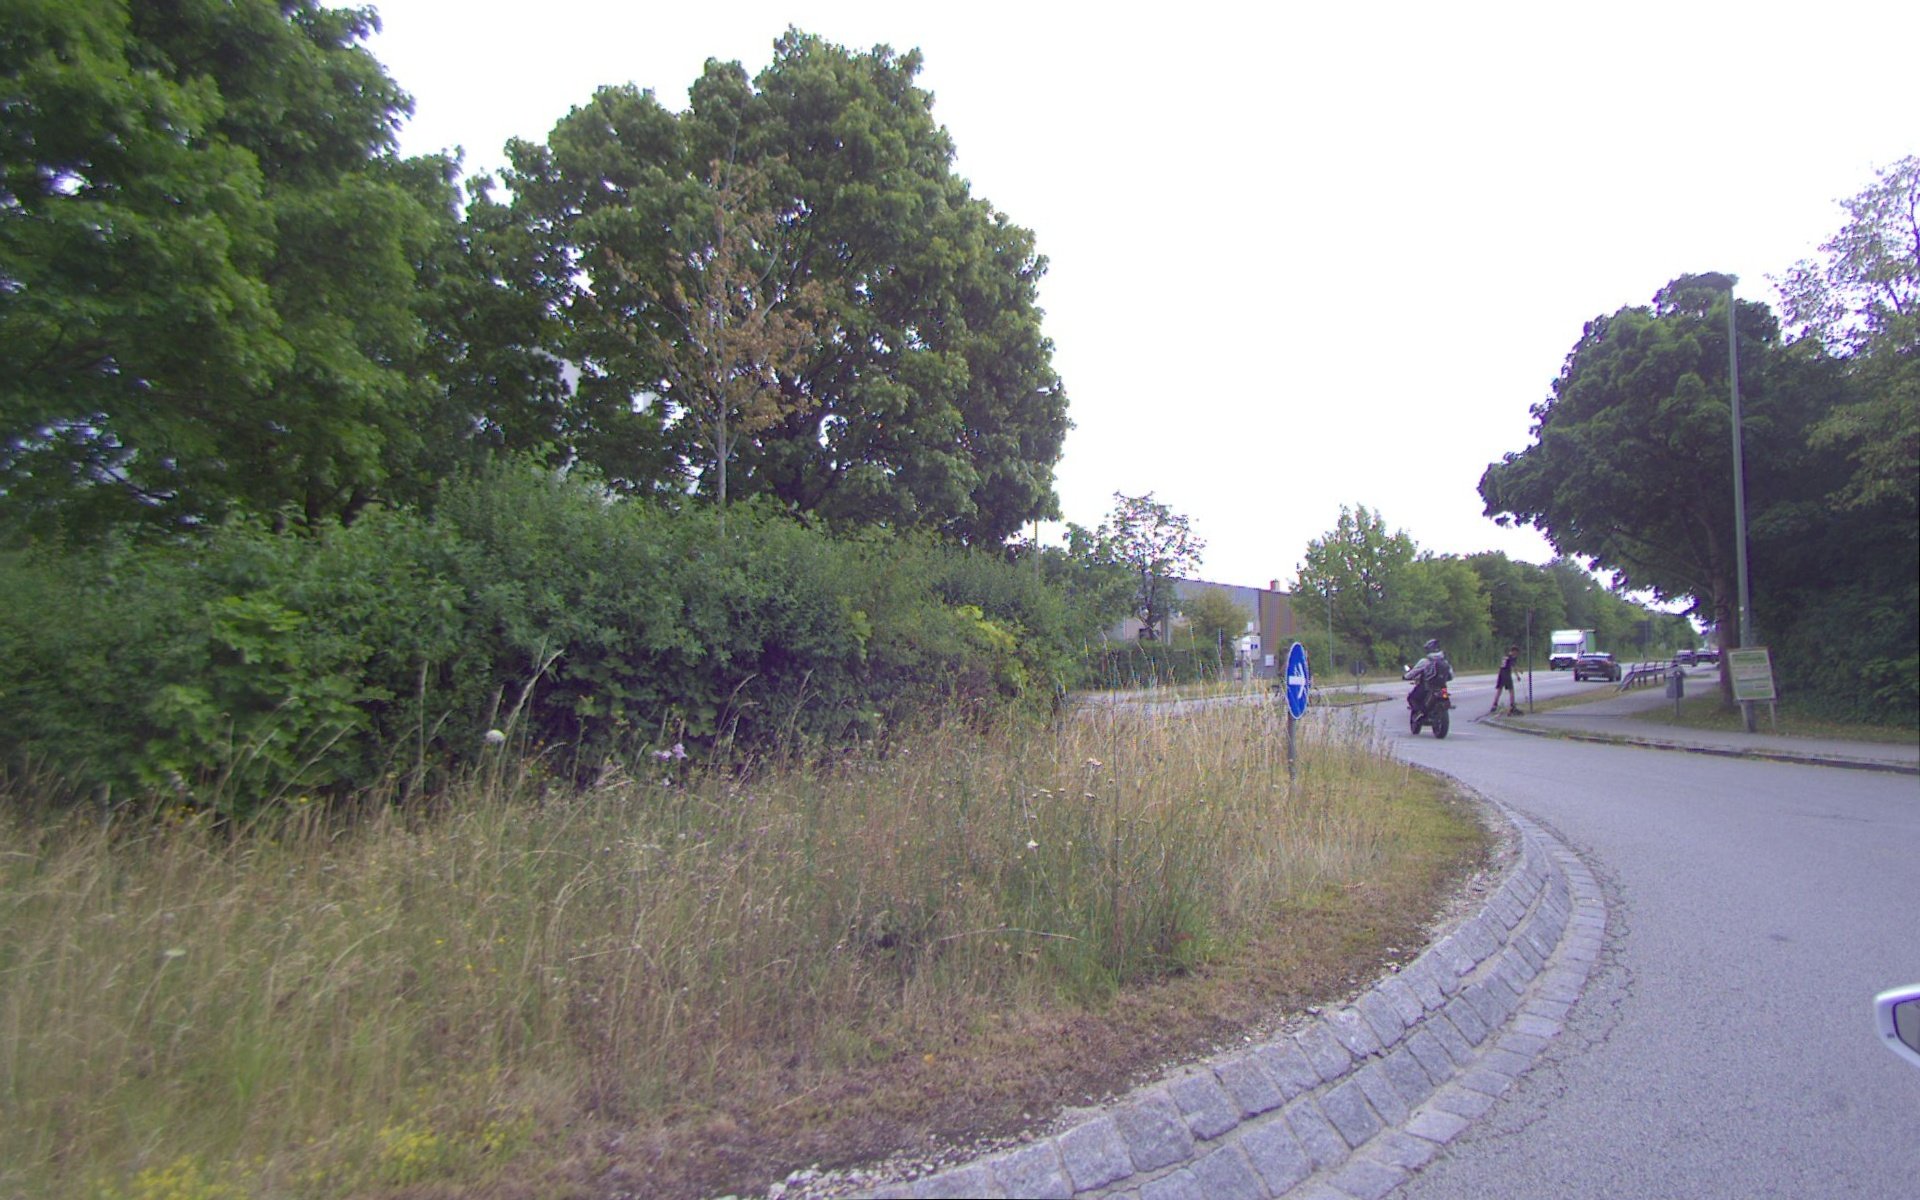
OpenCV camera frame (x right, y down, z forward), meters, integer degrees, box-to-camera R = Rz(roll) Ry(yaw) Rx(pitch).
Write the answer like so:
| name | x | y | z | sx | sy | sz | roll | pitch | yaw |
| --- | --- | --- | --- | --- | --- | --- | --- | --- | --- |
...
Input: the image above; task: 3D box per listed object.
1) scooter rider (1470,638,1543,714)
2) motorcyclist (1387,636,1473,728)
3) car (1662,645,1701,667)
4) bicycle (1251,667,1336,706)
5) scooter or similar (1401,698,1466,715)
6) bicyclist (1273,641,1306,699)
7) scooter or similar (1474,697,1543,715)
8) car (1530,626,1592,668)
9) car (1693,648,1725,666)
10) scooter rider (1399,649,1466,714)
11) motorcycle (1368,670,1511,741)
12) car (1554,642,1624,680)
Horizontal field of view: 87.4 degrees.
| name | x | y | z | sx | sy | sz | roll | pitch | yaw |
| --- | --- | --- | --- | --- | --- | --- | --- | --- | --- |
| scooter rider | 14.522 | 2.028 | 26.738 | 1.107 | 1.934 | 1.226 | -2 | -4 | -4 |
| motorcyclist | 8.744 | 1.514 | 18.734 | 0.849 | 1.644 | 1.187 | 0 | -3 | -15 |
| car | 70.458 | 5.452 | 98.010 | 2.486 | 1.972 | 5.682 | -4 | -4 | 41 |
| bicycle | 10.347 | 2.673 | 31.193 | 2.459 | 1.103 | 0.771 | 0 | -2 | 24 |
| scooter or similar | 12.634 | 2.846 | 26.861 | 1.204 | 0.369 | 1.100 | -1 | -3 | -1 |
| bicyclist | 10.258 | 2.173 | 31.241 | 0.901 | 1.745 | 0.659 | 0 | -2 | 24 |
| scooter or similar | 14.544 | 2.818 | 26.691 | 1.107 | 0.385 | 1.226 | -2 | -4 | -5 |
| car | 50.074 | 3.912 | 83.611 | 3.135 | 3.246 | 7.596 | -4 | -4 | 40 |
| car | 86.175 | 6.538 | 115.558 | 2.486 | 1.972 | 5.682 | -4 | -4 | 41 |
| scooter rider | 12.639 | 2.171 | 26.888 | 1.220 | 1.694 | 1.100 | -1 | -3 | -1 |
| motorcycle | 8.786 | 1.899 | 18.581 | 0.884 | 1.173 | 2.613 | 0 | -3 | -15 |
| car | 34.732 | 3.317 | 55.365 | 2.484 | 1.972 | 5.685 | -4 | -4 | 39 |
